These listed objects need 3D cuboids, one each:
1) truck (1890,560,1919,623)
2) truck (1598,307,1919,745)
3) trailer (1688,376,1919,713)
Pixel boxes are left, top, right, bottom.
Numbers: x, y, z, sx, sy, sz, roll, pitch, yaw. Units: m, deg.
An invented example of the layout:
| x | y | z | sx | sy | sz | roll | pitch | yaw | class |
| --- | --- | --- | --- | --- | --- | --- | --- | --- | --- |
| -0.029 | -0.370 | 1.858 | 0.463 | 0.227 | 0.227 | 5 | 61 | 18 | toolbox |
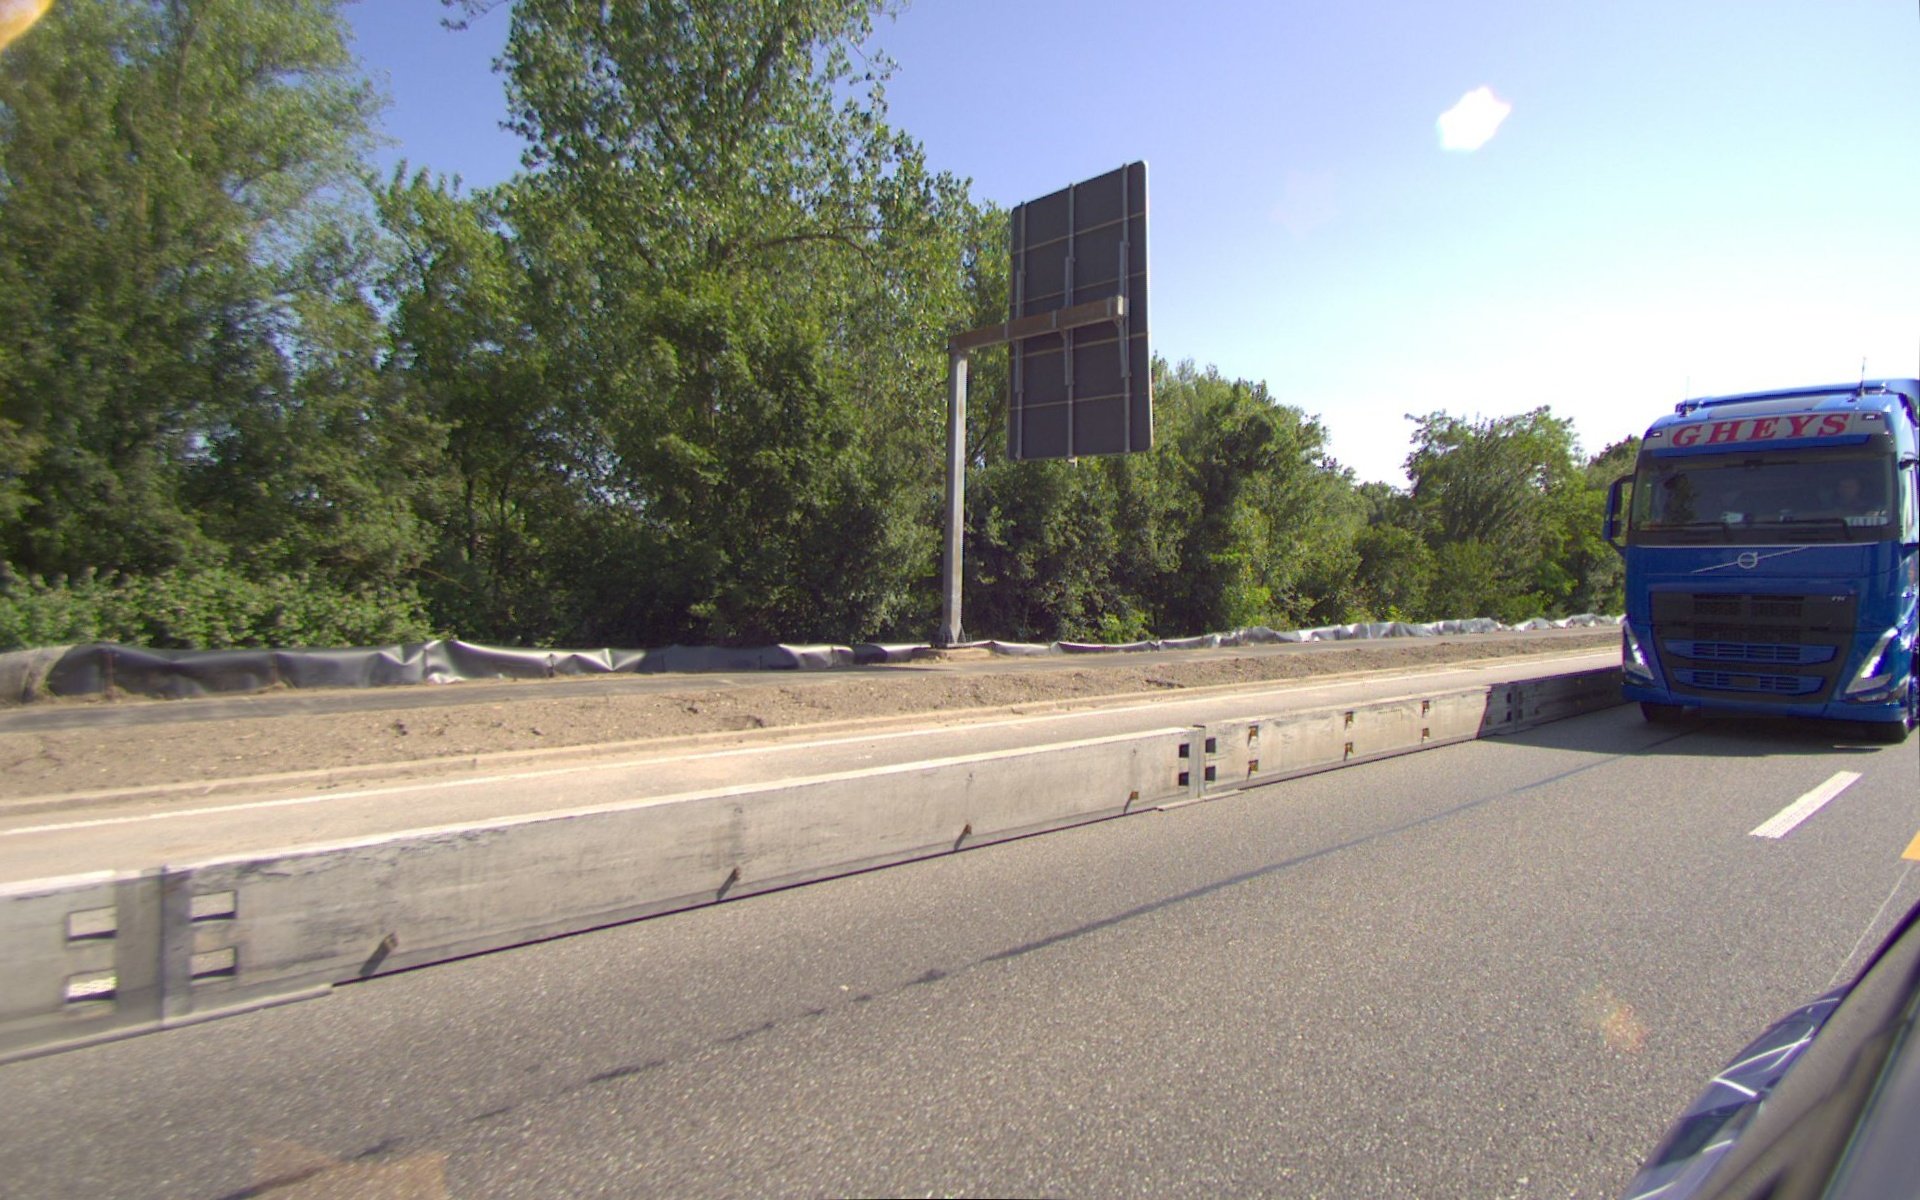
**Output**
| x | y | z | sx | sy | sz | roll | pitch | yaw | class |
| --- | --- | --- | --- | --- | --- | --- | --- | --- | --- |
| 64.506 | -0.521 | 67.848 | 2.855 | 4.033 | 8.529 | 4 | 3 | 43 | truck |
| 10.944 | -0.770 | 12.927 | 7.174 | 4.152 | 2.699 | 0 | 3 | -42 | truck |
| 15.952 | -0.730 | 17.468 | 12.396 | 4.187 | 2.699 | 0 | 3 | -42 | trailer |
